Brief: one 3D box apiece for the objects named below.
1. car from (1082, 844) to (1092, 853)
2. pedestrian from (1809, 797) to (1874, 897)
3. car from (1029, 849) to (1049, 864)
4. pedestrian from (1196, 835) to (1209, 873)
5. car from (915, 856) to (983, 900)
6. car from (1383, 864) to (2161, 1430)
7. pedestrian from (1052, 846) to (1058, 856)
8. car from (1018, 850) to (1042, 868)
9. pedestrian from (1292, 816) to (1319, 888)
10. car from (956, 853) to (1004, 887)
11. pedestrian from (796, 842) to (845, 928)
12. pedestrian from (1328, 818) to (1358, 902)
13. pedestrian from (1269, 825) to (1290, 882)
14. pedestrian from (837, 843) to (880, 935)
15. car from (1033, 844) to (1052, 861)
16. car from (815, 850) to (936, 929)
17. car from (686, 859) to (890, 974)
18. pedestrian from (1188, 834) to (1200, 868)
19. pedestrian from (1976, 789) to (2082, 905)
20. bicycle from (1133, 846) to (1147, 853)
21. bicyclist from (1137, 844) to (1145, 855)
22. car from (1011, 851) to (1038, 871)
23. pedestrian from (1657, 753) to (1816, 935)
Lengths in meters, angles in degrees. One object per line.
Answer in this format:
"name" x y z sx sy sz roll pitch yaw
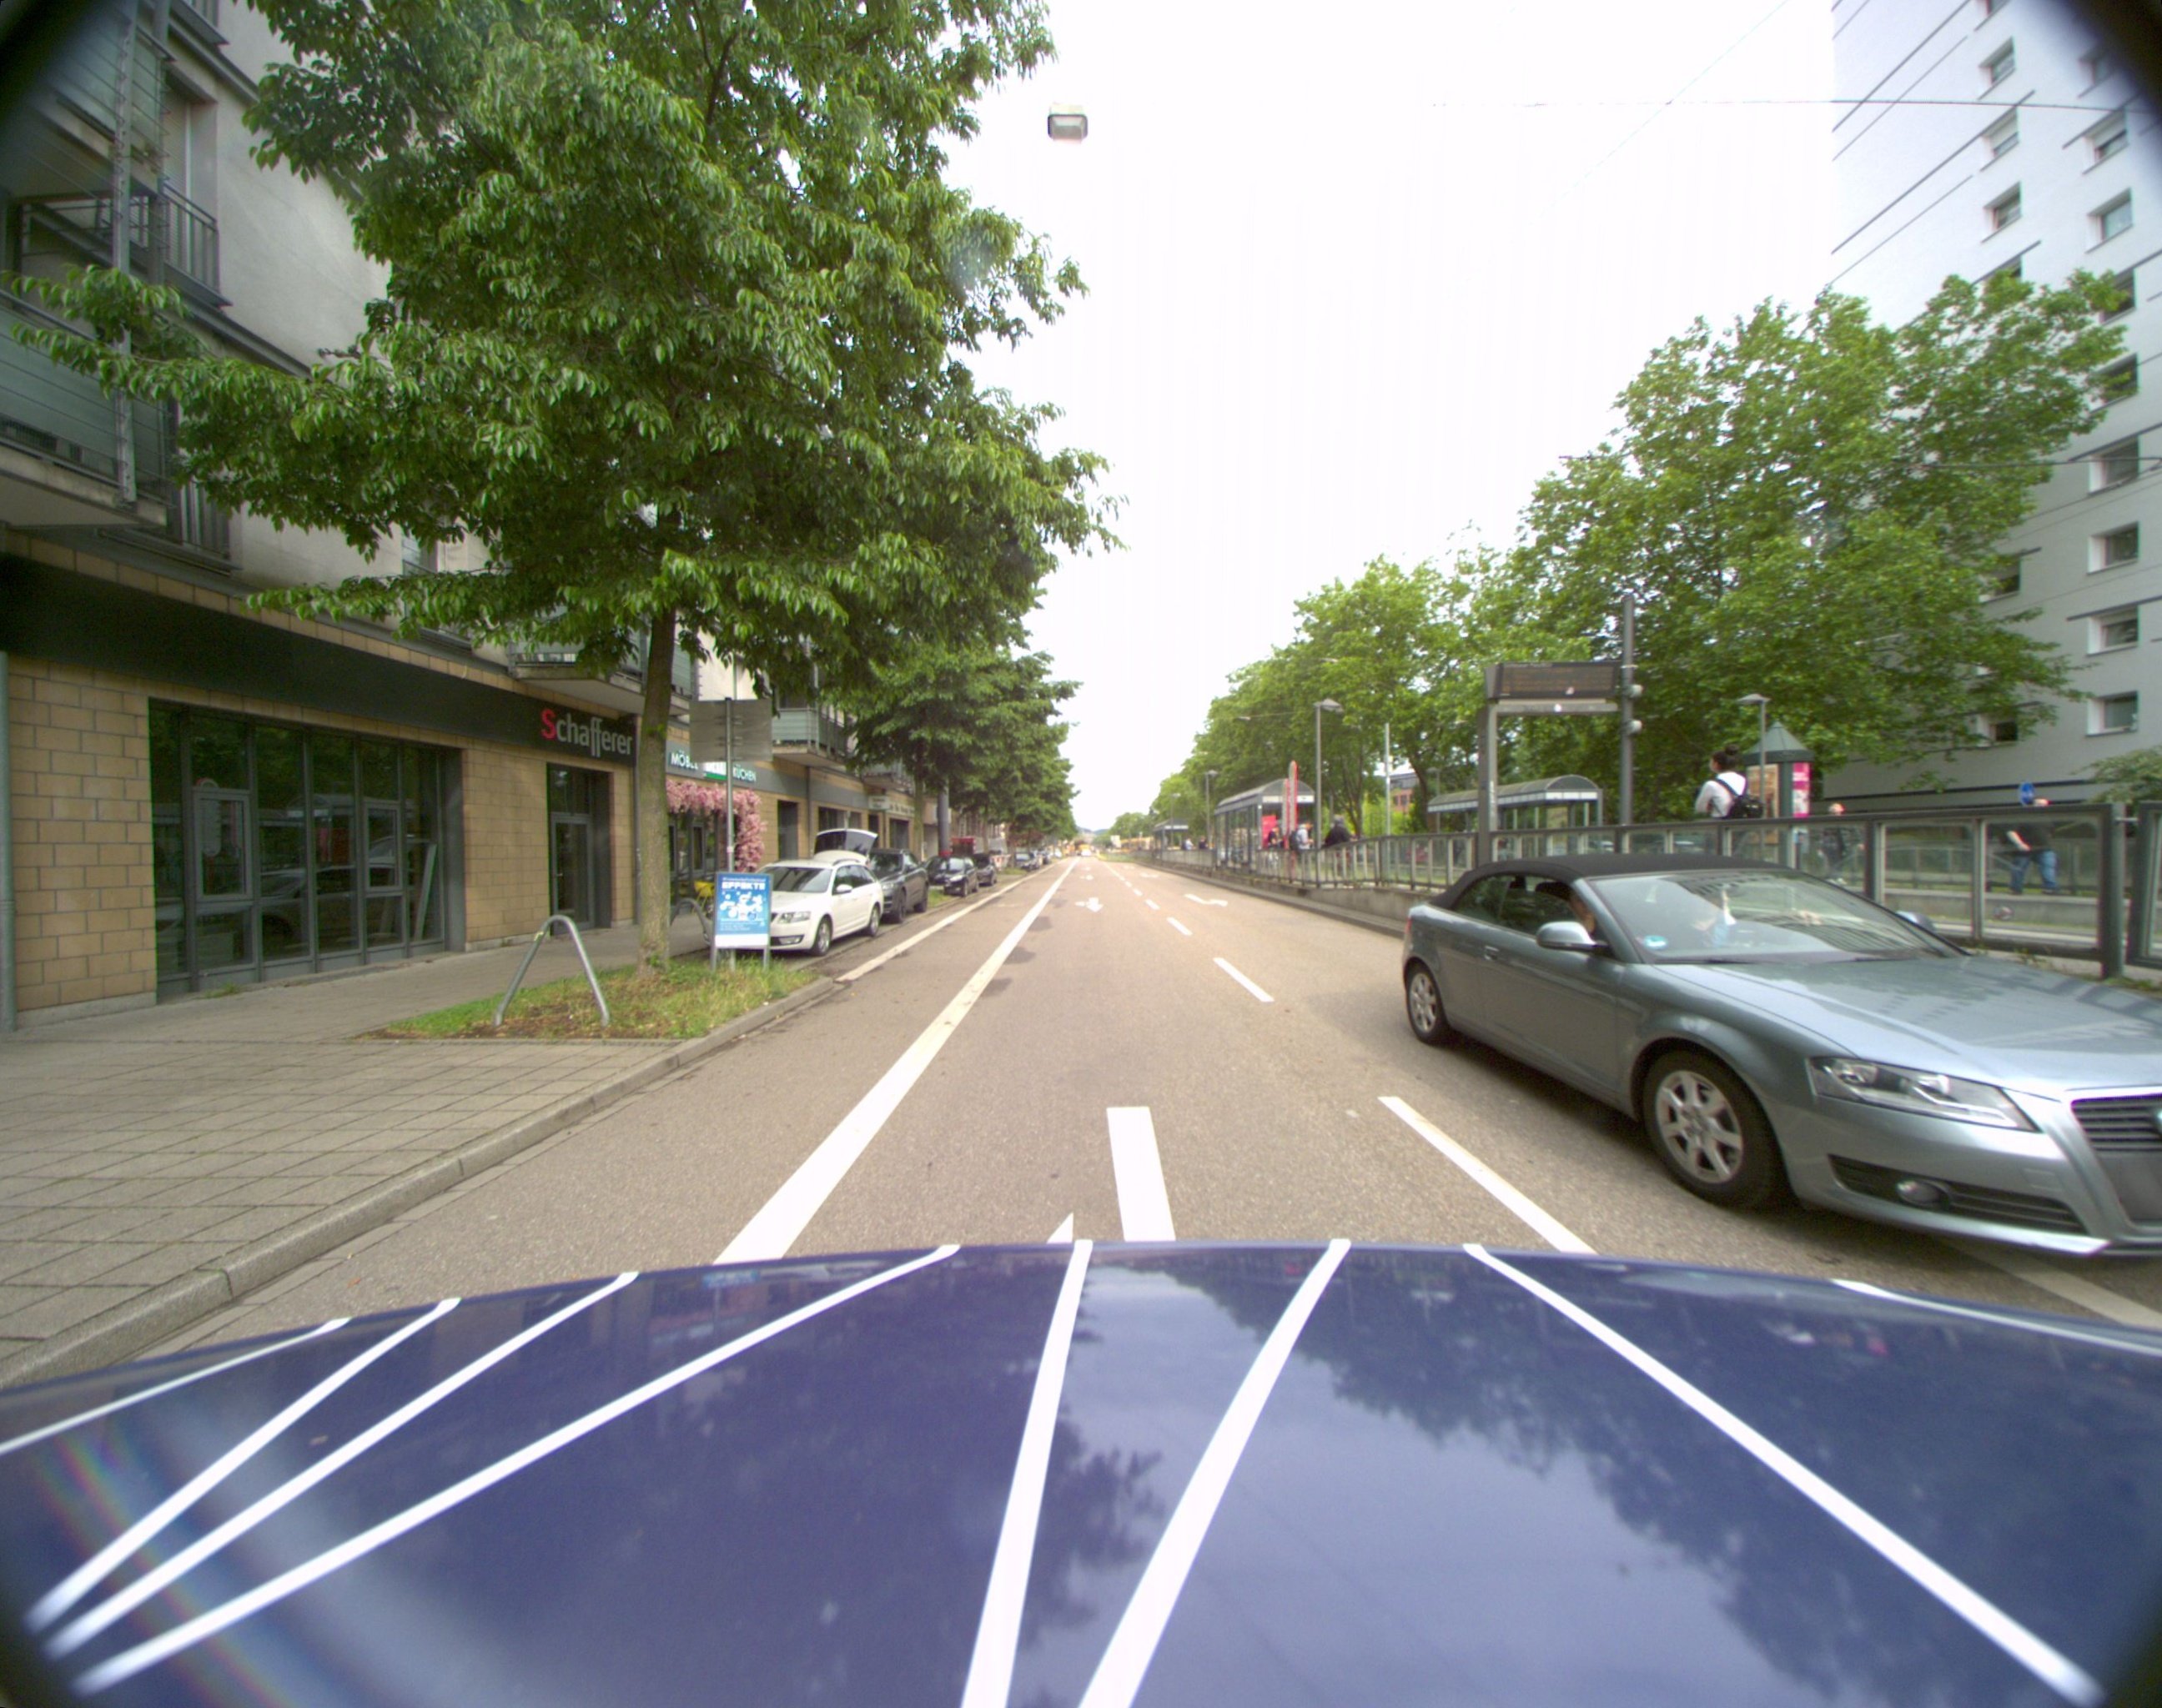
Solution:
"car" 1.354 -1.262 170.397 1.999 2.002 4.197 -2 1 -1
"pedestrian" 15.101 -0.142 15.100 0.699 1.919 0.554 -2 1 1
"car" -3.969 0.215 72.436 1.612 1.393 3.667 2 1 1
"pedestrian" 5.847 0.004 36.508 0.530 1.794 0.606 -2 1 14
"car" -4.638 0.798 27.261 1.612 1.369 4.167 2 1 1
"car" 3.298 0.826 4.100 1.716 1.379 4.099 -2 1 1
"pedestrian" -5.687 -0.669 165.307 1.216 2.002 1.143 -1 1 1
"car" -4.124 0.370 62.149 1.612 1.393 3.667 2 1 1
"pedestrian" 5.747 -0.060 19.467 0.475 1.794 0.605 -2 1 5
"car" -4.557 0.688 34.722 1.612 1.393 3.667 2 1 1
"pedestrian" -5.330 0.616 15.549 0.737 1.707 0.618 1 1 8
"pedestrian" 5.705 0.123 16.564 0.521 1.794 0.605 -2 1 13
"pedestrian" 6.312 -0.024 24.184 0.474 1.794 0.606 -2 1 26
"pedestrian" -4.595 0.707 15.723 0.656 1.873 0.599 -1 1 1
"car" -3.963 -0.135 78.206 1.612 1.674 3.806 2 1 1
"car" -4.717 0.745 17.989 1.738 1.601 3.798 2 1 1
"car" -4.720 0.904 12.986 1.738 1.512 4.308 2 1 1
"pedestrian" 6.140 -0.174 41.325 0.530 1.794 0.606 -2 1 14
"pedestrian" 15.562 -0.111 12.490 0.882 1.823 0.666 -2 1 1
"bicycle" 7.718 -0.573 99.188 1.783 0.925 0.490 -2 1 -20
"bicyclist" 7.825 -0.571 99.279 0.813 1.458 0.725 -1 1 -20
"car" -4.164 0.484 56.240 1.612 1.393 3.667 2 1 1
"pedestrian" 6.436 -0.094 7.515 0.720 1.661 0.979 -2 1 3
